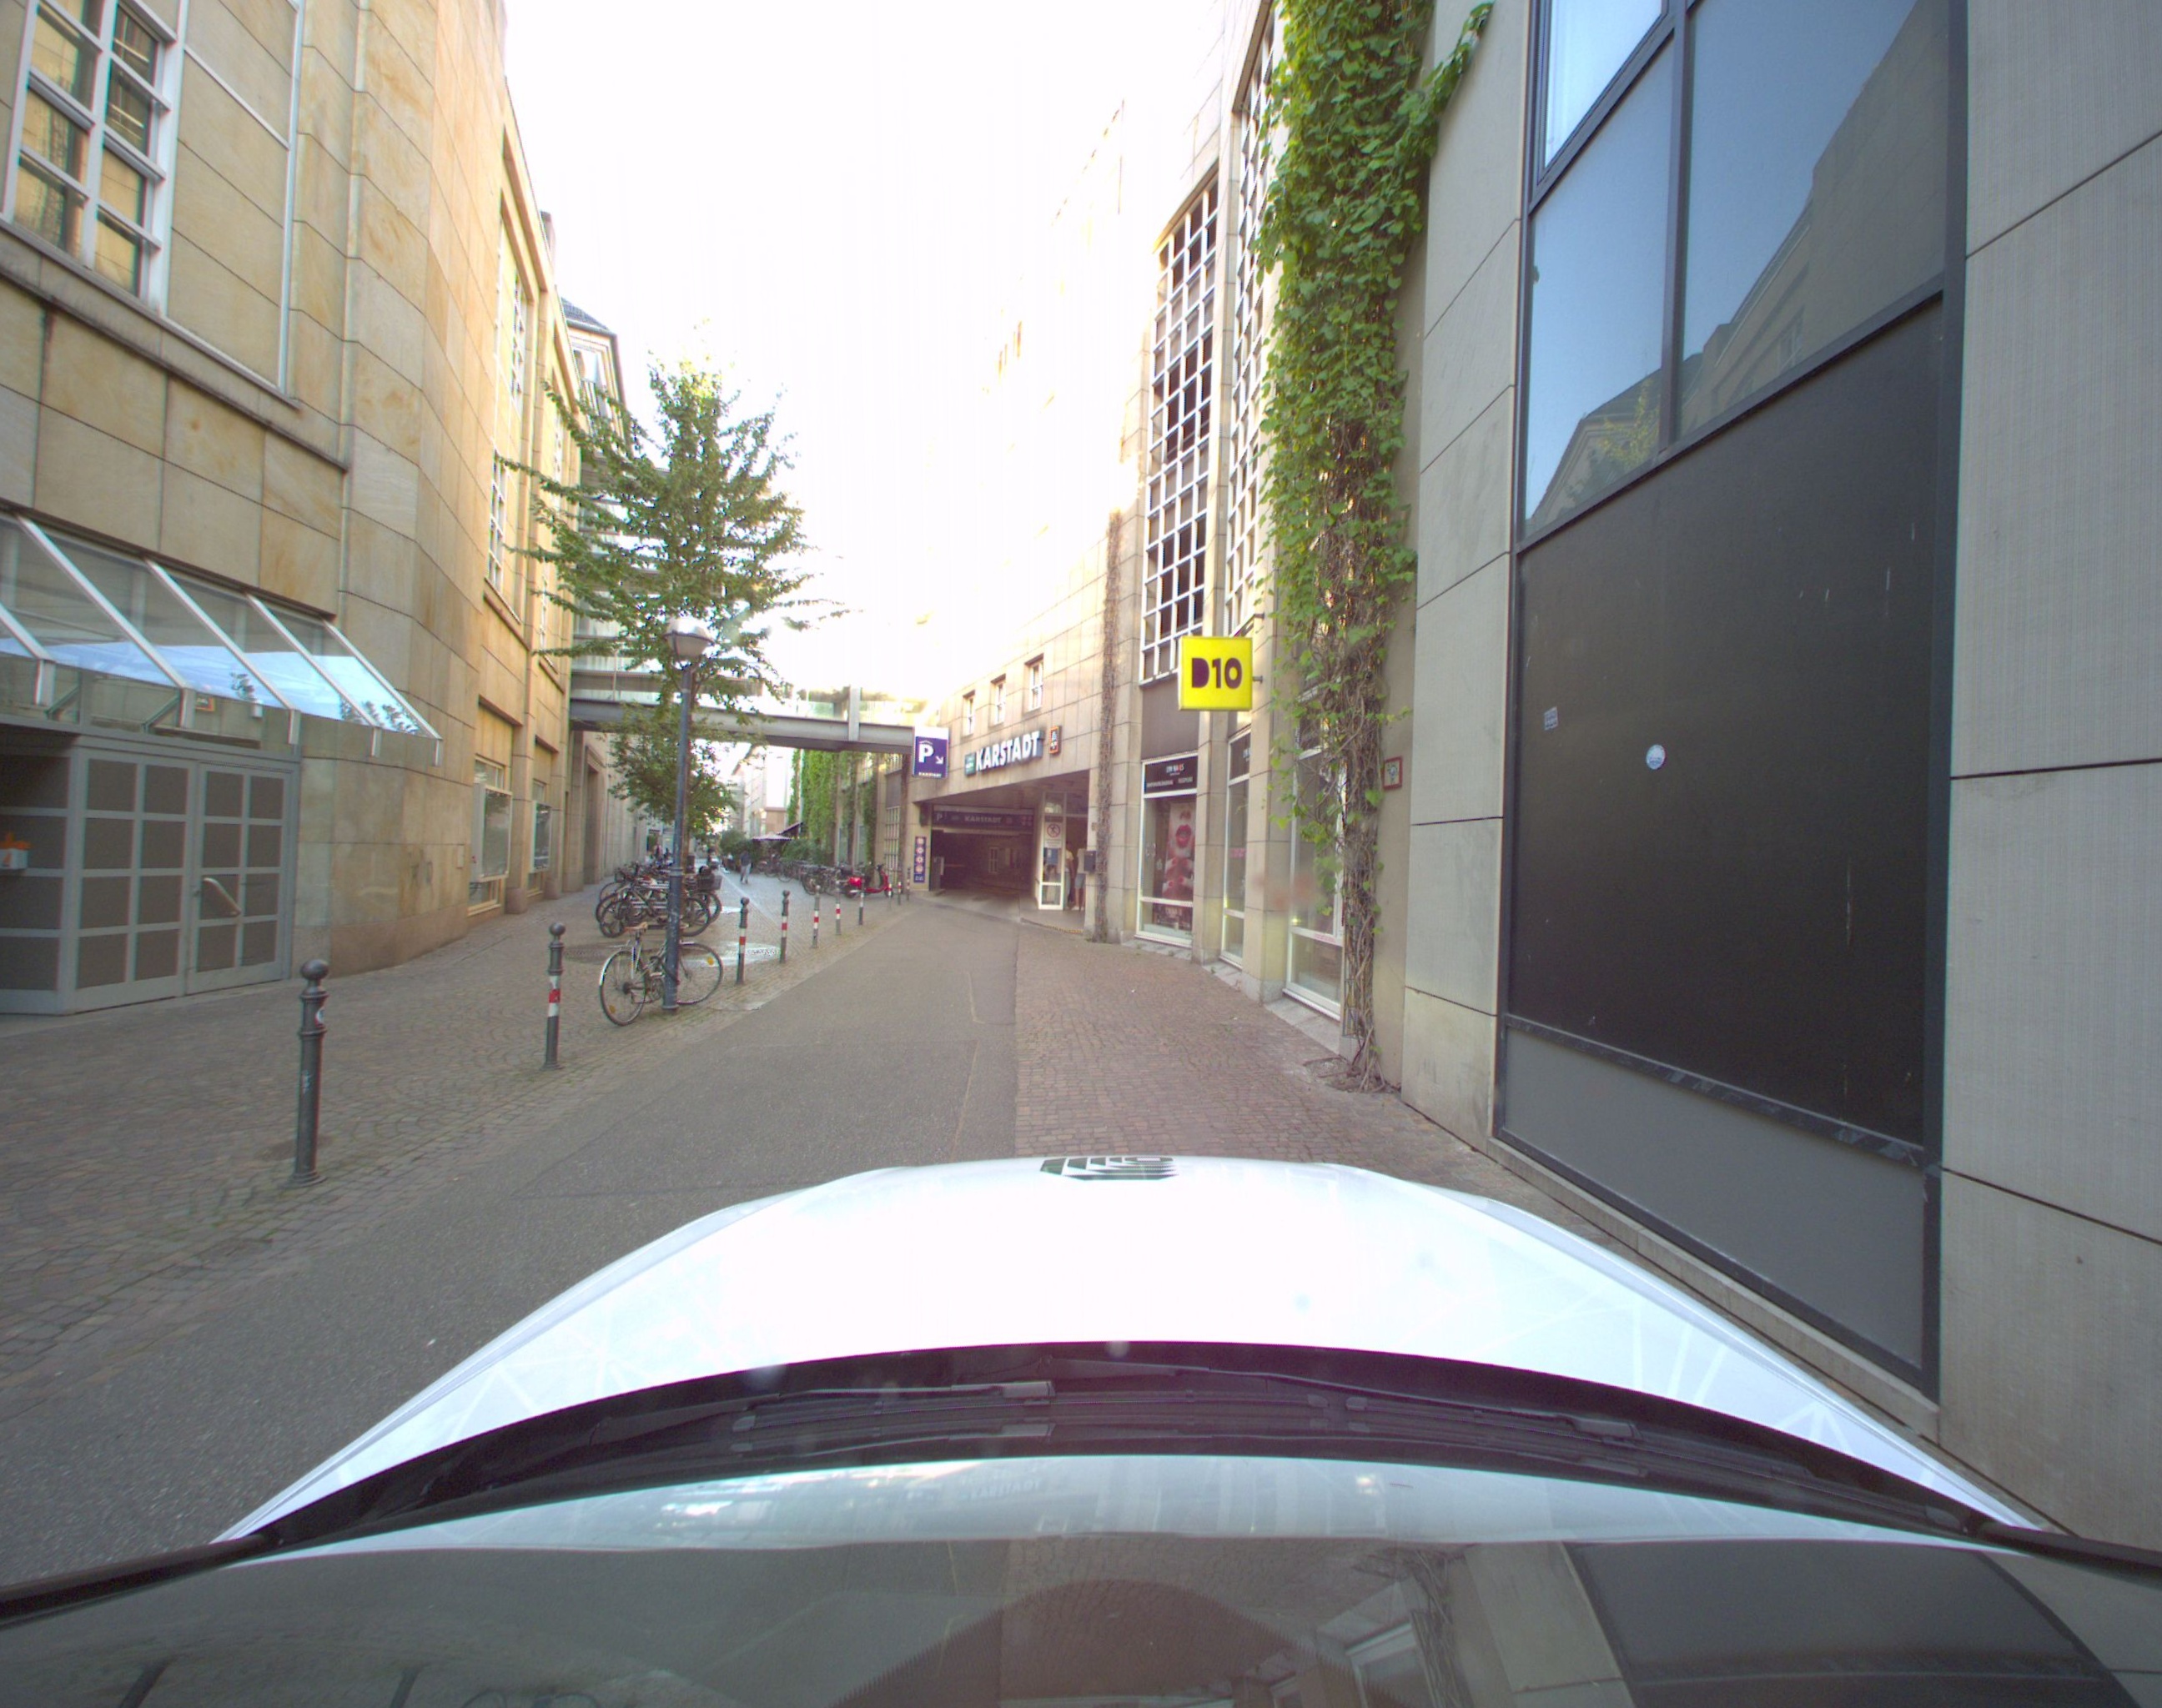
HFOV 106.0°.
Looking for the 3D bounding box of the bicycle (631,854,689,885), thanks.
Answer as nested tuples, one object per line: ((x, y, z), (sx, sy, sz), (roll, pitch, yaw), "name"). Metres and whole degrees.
((-16.682, 0.629, 32.315), (1.920, 1.182, 0.691), (2, 0, -22), "bicycle")

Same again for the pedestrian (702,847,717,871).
((-25.913, 0.322, 56.850), (0.896, 1.639, 0.904), (1, -1, -26), "pedestrian")

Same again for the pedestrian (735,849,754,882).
((-15.590, 0.549, 37.753), (0.752, 1.509, 0.632), (1, -1, -27), "pedestrian")

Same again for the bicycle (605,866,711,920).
((-9.004, 0.827, 17.417), (1.920, 1.101, 0.691), (2, 0, -22), "bicycle")

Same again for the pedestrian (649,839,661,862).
((-34.536, -0.260, 66.036), (0.778, 1.804, 0.629), (1, -1, -26), "pedestrian")

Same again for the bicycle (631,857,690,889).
((-16.262, 0.736, 31.544), (1.920, 1.182, 0.691), (2, 0, -22), "bicycle")

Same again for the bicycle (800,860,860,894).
((-9.111, 0.811, 29.532), (2.003, 1.182, 0.796), (0, 0, -24), "bicycle")

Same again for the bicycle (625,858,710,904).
((-11.054, 0.735, 21.832), (1.920, 1.182, 0.691), (2, 0, -22), "bicycle")

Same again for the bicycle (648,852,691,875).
((-21.517, 0.502, 42.594), (1.920, 1.182, 0.691), (2, 0, -22), "bicycle")

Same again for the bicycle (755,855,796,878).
((-16.385, 0.664, 43.683), (2.003, 1.182, 0.688), (0, 0, -24), "bicycle")

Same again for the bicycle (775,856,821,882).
((-13.307, 0.675, 38.292), (2.003, 1.182, 0.688), (0, 0, -24), "bicycle")

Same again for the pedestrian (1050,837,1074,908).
((-0.501, 0.490, 21.664), (0.540, 1.846, 0.408), (2, 0, 1), "pedestrian")

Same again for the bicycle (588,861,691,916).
((-9.838, 0.766, 18.242), (1.920, 1.182, 0.691), (2, 0, -22), "bicycle")

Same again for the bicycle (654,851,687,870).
((-28.030, 0.444, 55.653), (1.920, 1.182, 0.691), (2, 0, -22), "bicycle")

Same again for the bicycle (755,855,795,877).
((-16.722, 0.645, 44.464), (2.003, 1.182, 0.688), (0, 0, -24), "bicycle")

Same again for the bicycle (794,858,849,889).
((-10.200, 0.761, 32.025), (2.003, 1.182, 0.796), (0, 0, -24), "bicycle")

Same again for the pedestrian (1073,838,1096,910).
((0.103, 0.511, 21.483), (0.540, 1.861, 0.408), (2, 0, 1), "pedestrian")

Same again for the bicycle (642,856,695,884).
((-17.742, 0.689, 35.061), (1.920, 1.182, 0.691), (2, 0, -22), "bicycle")

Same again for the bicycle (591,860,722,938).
((-7.262, 0.761, 14.053), (1.922, 1.261, 0.802), (2, 0, -25), "bicycle")

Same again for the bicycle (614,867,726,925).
((-8.181, 0.834, 16.304), (1.922, 1.101, 0.690), (2, 0, -25), "bicycle")

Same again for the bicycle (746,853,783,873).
((-18.951, 0.526, 48.756), (2.003, 1.182, 0.688), (0, 0, -24), "bicycle")

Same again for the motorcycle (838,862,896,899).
((-6.905, 0.848, 26.314), (1.753, 1.155, 0.590), (0, 0, -22), "motorcycle")

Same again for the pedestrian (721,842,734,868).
((-24.566, 0.090, 56.596), (0.769, 1.804, 0.770), (1, -1, -26), "pedestrian")

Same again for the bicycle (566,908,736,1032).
((-4.130, 1.066, 7.980), (0.502, 0.966, 1.699), (1, 0, 10), "bicycle")

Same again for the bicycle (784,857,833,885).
((-12.072, 0.739, 36.042), (2.003, 1.182, 0.688), (0, 0, -24), "bicycle")

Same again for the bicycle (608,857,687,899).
((-12.467, 0.695, 23.485), (1.920, 1.182, 0.691), (2, 0, -22), "bicycle")

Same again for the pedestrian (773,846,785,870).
((-22.768, 0.305, 61.397), (0.778, 1.804, 0.761), (1, -1, -26), "pedestrian")

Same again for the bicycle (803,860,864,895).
((-8.704, 0.809, 28.687), (2.003, 1.182, 0.690), (0, 0, -24), "bicycle")

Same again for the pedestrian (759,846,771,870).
((-23.774, 0.275, 61.264), (0.778, 1.804, 0.761), (1, -1, -26), "pedestrian")

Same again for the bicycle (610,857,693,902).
((-11.822, 0.714, 22.501), (1.920, 1.182, 0.691), (2, 0, -22), "bicycle")

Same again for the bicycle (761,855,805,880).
((-14.620, 0.664, 39.990), (2.003, 1.182, 0.688), (0, 0, -24), "bicycle")

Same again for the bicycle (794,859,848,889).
((-10.535, 0.797, 32.984), (2.003, 1.182, 0.688), (0, 0, -24), "bicycle")

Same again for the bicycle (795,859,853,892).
((-9.650, 0.794, 30.619), (2.003, 1.182, 0.796), (0, 0, -24), "bicycle")

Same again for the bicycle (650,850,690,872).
((-23.435, 0.398, 46.439), (1.920, 1.182, 0.691), (2, 0, -22), "bicycle")

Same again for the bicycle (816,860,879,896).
((-7.998, 0.815, 27.892), (2.003, 1.182, 0.690), (0, 0, -24), "bicycle")

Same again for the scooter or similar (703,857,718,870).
((-25.499, 0.666, 56.029), (0.896, 0.843, 0.904), (1, 0, -26), "scooter or similar")

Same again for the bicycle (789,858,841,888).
((-11.028, 0.787, 33.823), (2.003, 1.182, 0.688), (0, 0, -24), "bicycle")

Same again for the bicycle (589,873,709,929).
((-8.113, 0.879, 15.389), (1.922, 0.994, 0.690), (2, 0, -25), "bicycle")

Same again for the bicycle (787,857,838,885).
((-11.545, 0.726, 35.015), (2.003, 1.182, 0.688), (0, 0, -24), "bicycle")
